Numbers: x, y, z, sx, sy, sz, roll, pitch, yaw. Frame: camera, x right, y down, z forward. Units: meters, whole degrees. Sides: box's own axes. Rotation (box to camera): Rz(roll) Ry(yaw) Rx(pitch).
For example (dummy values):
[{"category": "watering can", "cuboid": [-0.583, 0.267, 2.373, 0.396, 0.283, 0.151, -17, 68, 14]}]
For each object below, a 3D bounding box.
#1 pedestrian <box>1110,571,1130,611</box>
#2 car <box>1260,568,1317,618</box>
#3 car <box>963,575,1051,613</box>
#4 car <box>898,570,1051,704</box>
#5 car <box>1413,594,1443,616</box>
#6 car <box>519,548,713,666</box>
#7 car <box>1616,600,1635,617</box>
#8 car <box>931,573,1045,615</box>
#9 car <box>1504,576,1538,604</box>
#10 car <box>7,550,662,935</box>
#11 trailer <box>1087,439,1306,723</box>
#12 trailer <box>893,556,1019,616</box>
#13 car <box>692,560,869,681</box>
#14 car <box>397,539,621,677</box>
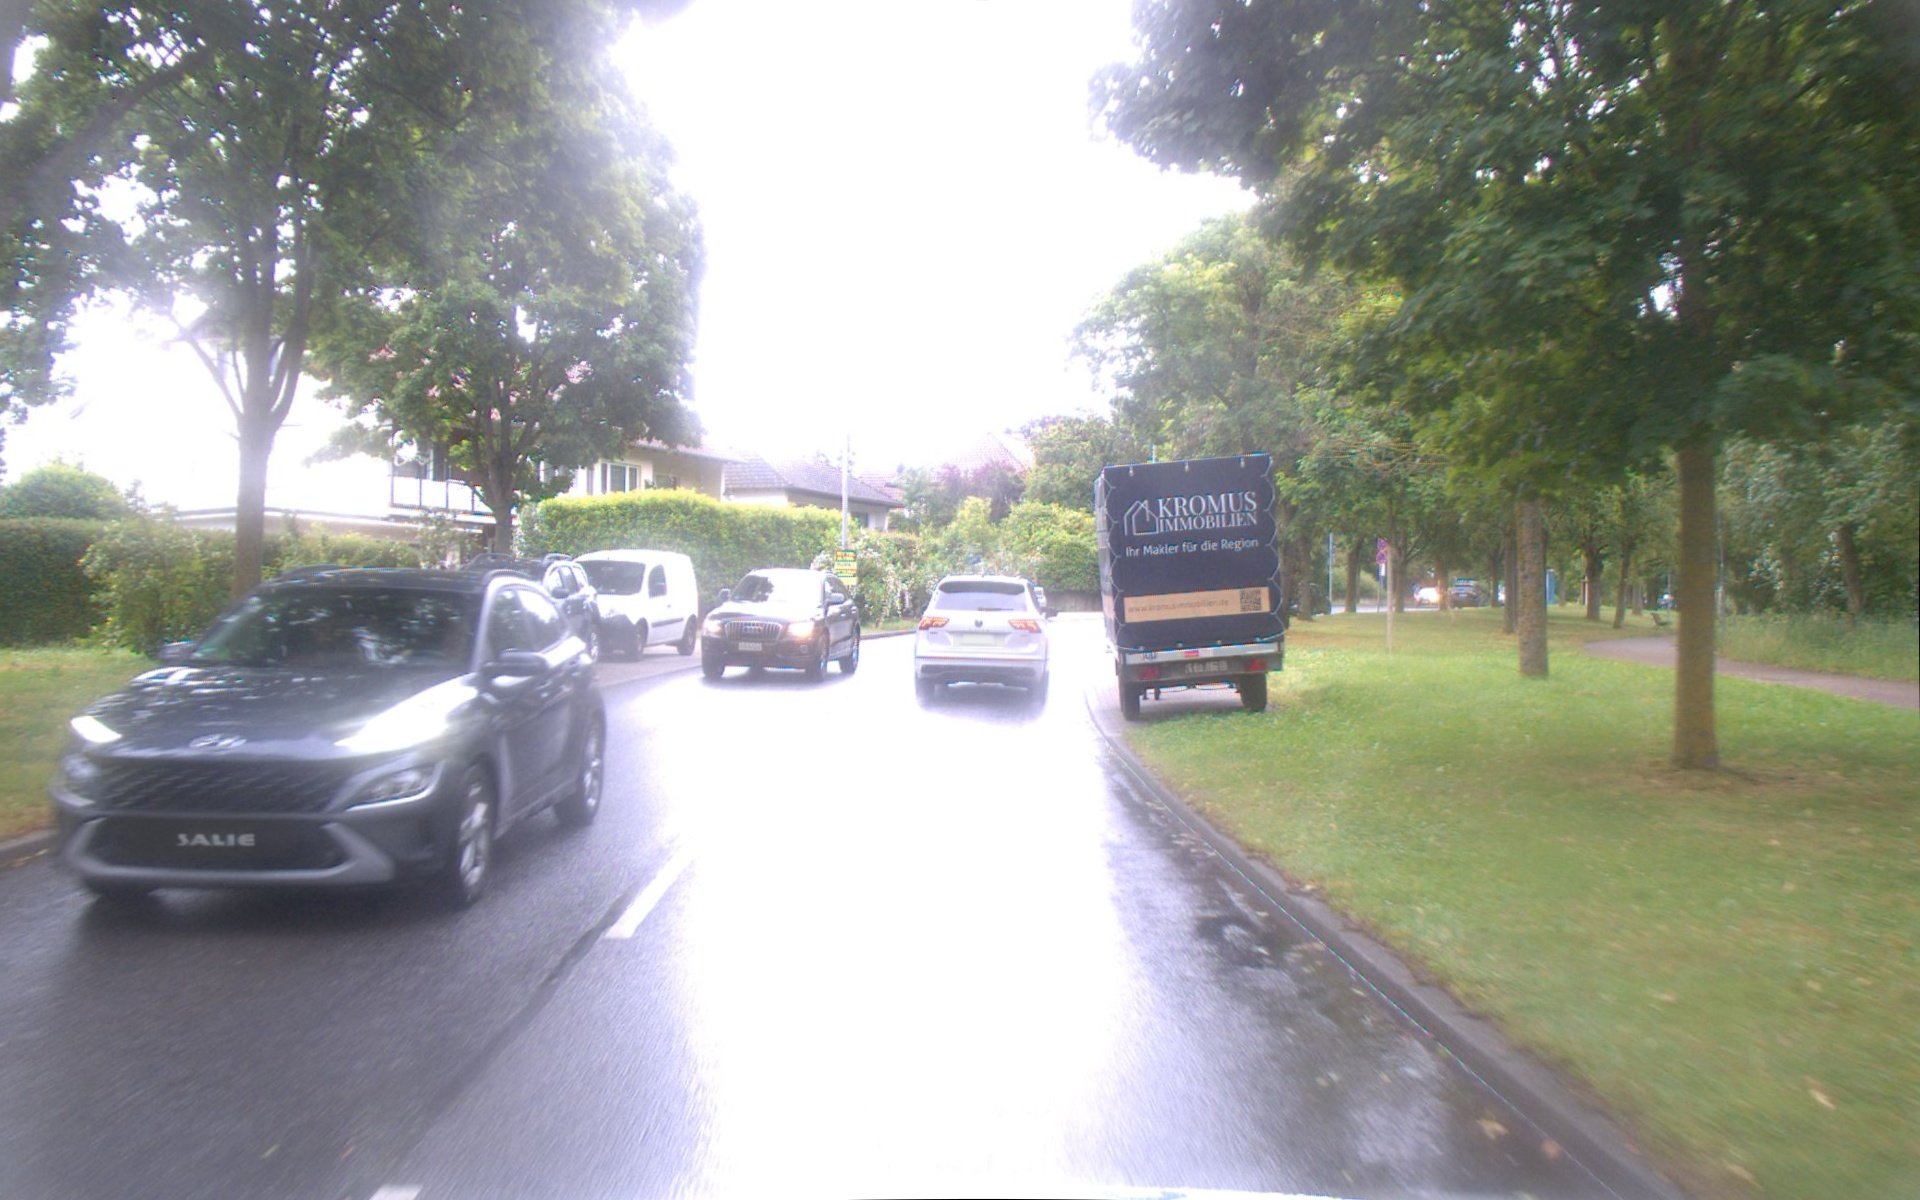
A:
[{"category": "pedestrian", "cuboid": [6.979, -0.394, 71.939, 0.760, 1.690, 0.844, 1, 1, 11]}, {"category": "car", "cuboid": [14.358, -0.278, 72.201, 1.861, 2.049, 3.945, 3, 0, 19]}, {"category": "car", "cuboid": [2.022, -0.264, 70.439, 3.334, 1.545, 1.731, 1, 1, 22]}, {"category": "car", "cuboid": [0.144, 0.474, 23.598, 1.934, 1.681, 4.176, 2, 0, -1]}, {"category": "car", "cuboid": [34.359, 0.359, 121.403, 1.551, 1.503, 3.894, 0, 1, 24]}, {"category": "car", "cuboid": [-5.813, 0.103, 28.510, 1.760, 1.827, 4.376, 2, 0, 9]}, {"category": "car", "cuboid": [67.783, 0.908, 168.542, 1.391, 1.598, 3.432, 3, 0, 17]}, {"category": "car", "cuboid": [1.145, -0.260, 67.301, 4.152, 1.566, 2.052, 1, 1, 22]}, {"category": "car", "cuboid": [41.717, -0.728, 122.957, 1.954, 1.836, 3.998, 3, 0, 24]}, {"category": "car", "cuboid": [-2.979, 0.557, 8.920, 1.752, 1.564, 4.094, 1, 1, 4]}, {"category": "trailer", "cuboid": [2.728, -0.224, 20.388, 1.952, 2.856, 5.610, -5, 0, 3]}, {"category": "trailer", "cuboid": [-0.167, -0.557, 64.186, 4.526, 2.209, 1.815, 1, 1, 22]}, {"category": "car", "cuboid": [-2.743, 0.263, 26.266, 1.812, 1.721, 4.408, 1, 1, 7]}, {"category": "car", "cuboid": [-6.192, 0.108, 23.272, 1.714, 1.669, 4.593, 3, 0, 1]}]
